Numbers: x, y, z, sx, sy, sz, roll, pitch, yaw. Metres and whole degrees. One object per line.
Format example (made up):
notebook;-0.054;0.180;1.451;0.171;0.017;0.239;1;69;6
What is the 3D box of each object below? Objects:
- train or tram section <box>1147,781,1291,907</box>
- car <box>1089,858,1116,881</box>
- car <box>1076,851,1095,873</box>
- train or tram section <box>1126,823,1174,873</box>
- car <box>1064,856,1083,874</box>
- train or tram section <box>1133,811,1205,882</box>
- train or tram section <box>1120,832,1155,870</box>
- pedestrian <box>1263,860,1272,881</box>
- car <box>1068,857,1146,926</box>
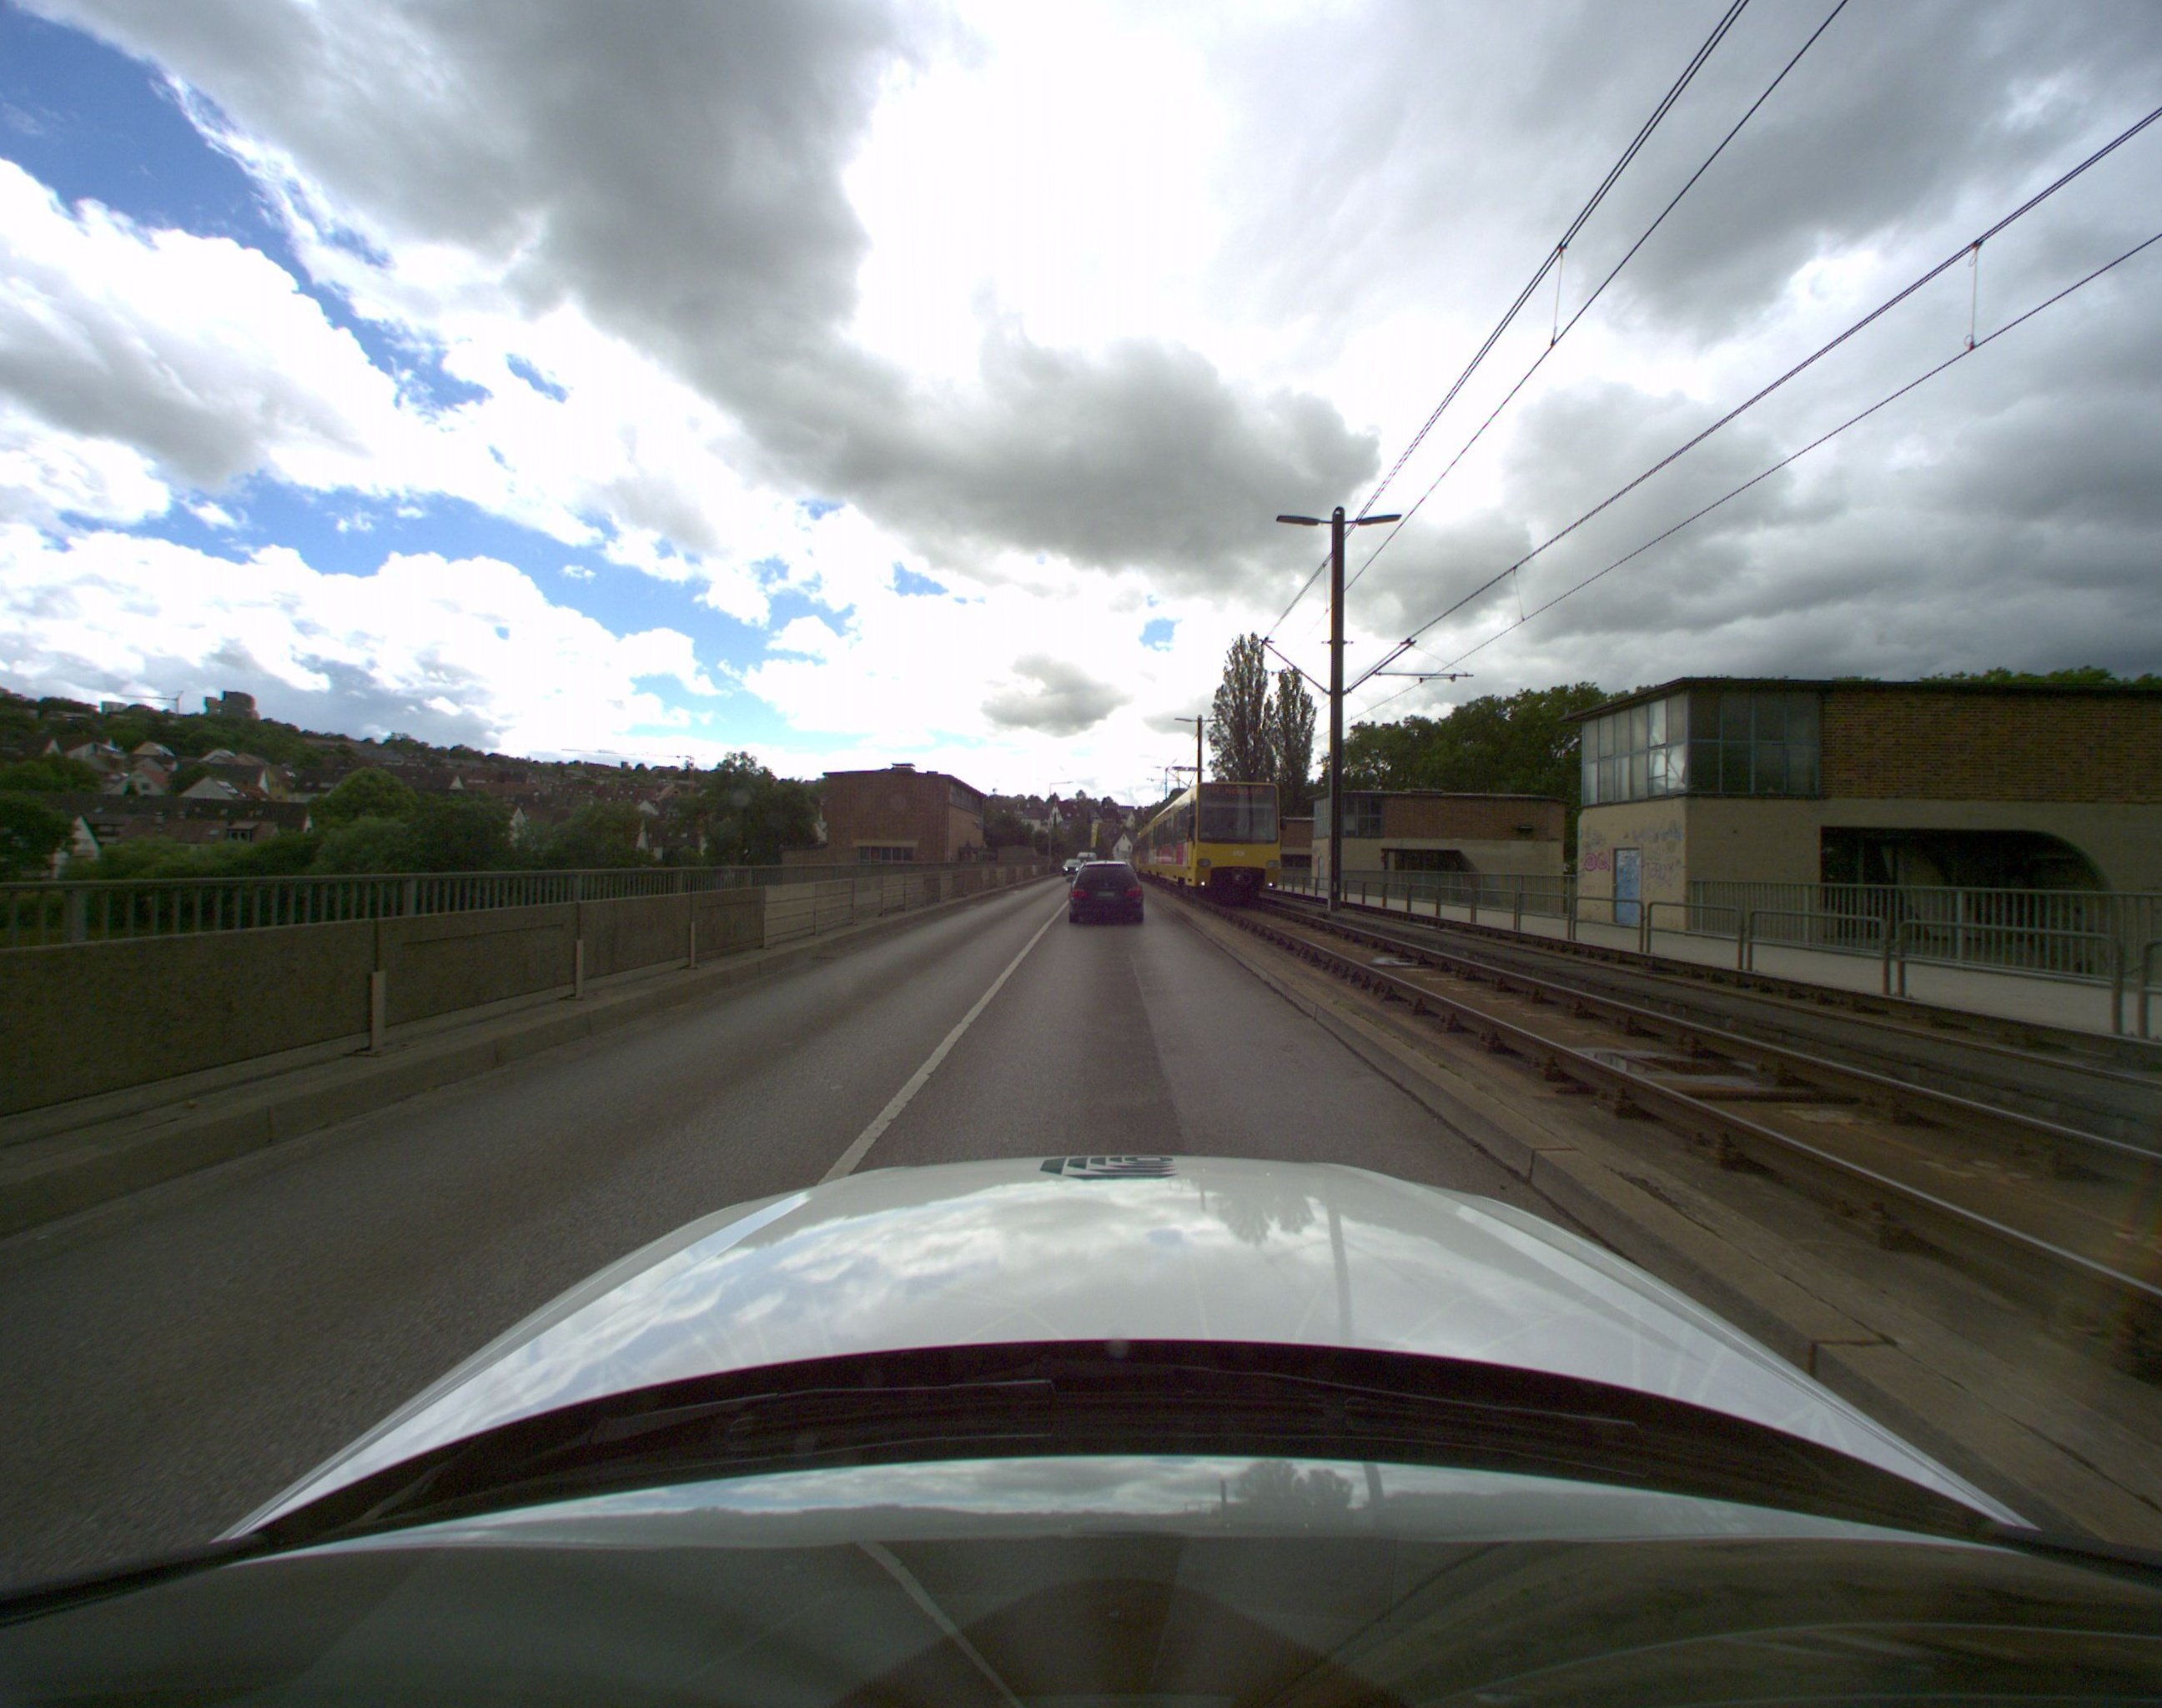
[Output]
train or tram section;4.660;-0.310;32.360;2.872;3.509;18.671;-1;0;1
car;1.484;1.079;57.964;1.765;1.555;4.240;-1;0;0
car;0.552;0.894;96.140;2.026;2.561;7.010;0;0;1
train or tram section;5.687;-0.369;70.365;2.774;3.656;19.896;-2;0;1
car;-0.709;1.042;79.203;1.709;1.645;4.001;-1;0;1
train or tram section;5.121;-0.417;51.010;2.819;3.580;18.671;-1;0;1
train or tram section;6.044;-0.232;90.245;2.783;3.764;19.892;1;0;1
pedestrian;14.104;1.236;61.683;0.575;1.609;0.613;0;-1;2
car;0.614;0.861;20.749;1.753;1.515;4.443;-1;0;1
